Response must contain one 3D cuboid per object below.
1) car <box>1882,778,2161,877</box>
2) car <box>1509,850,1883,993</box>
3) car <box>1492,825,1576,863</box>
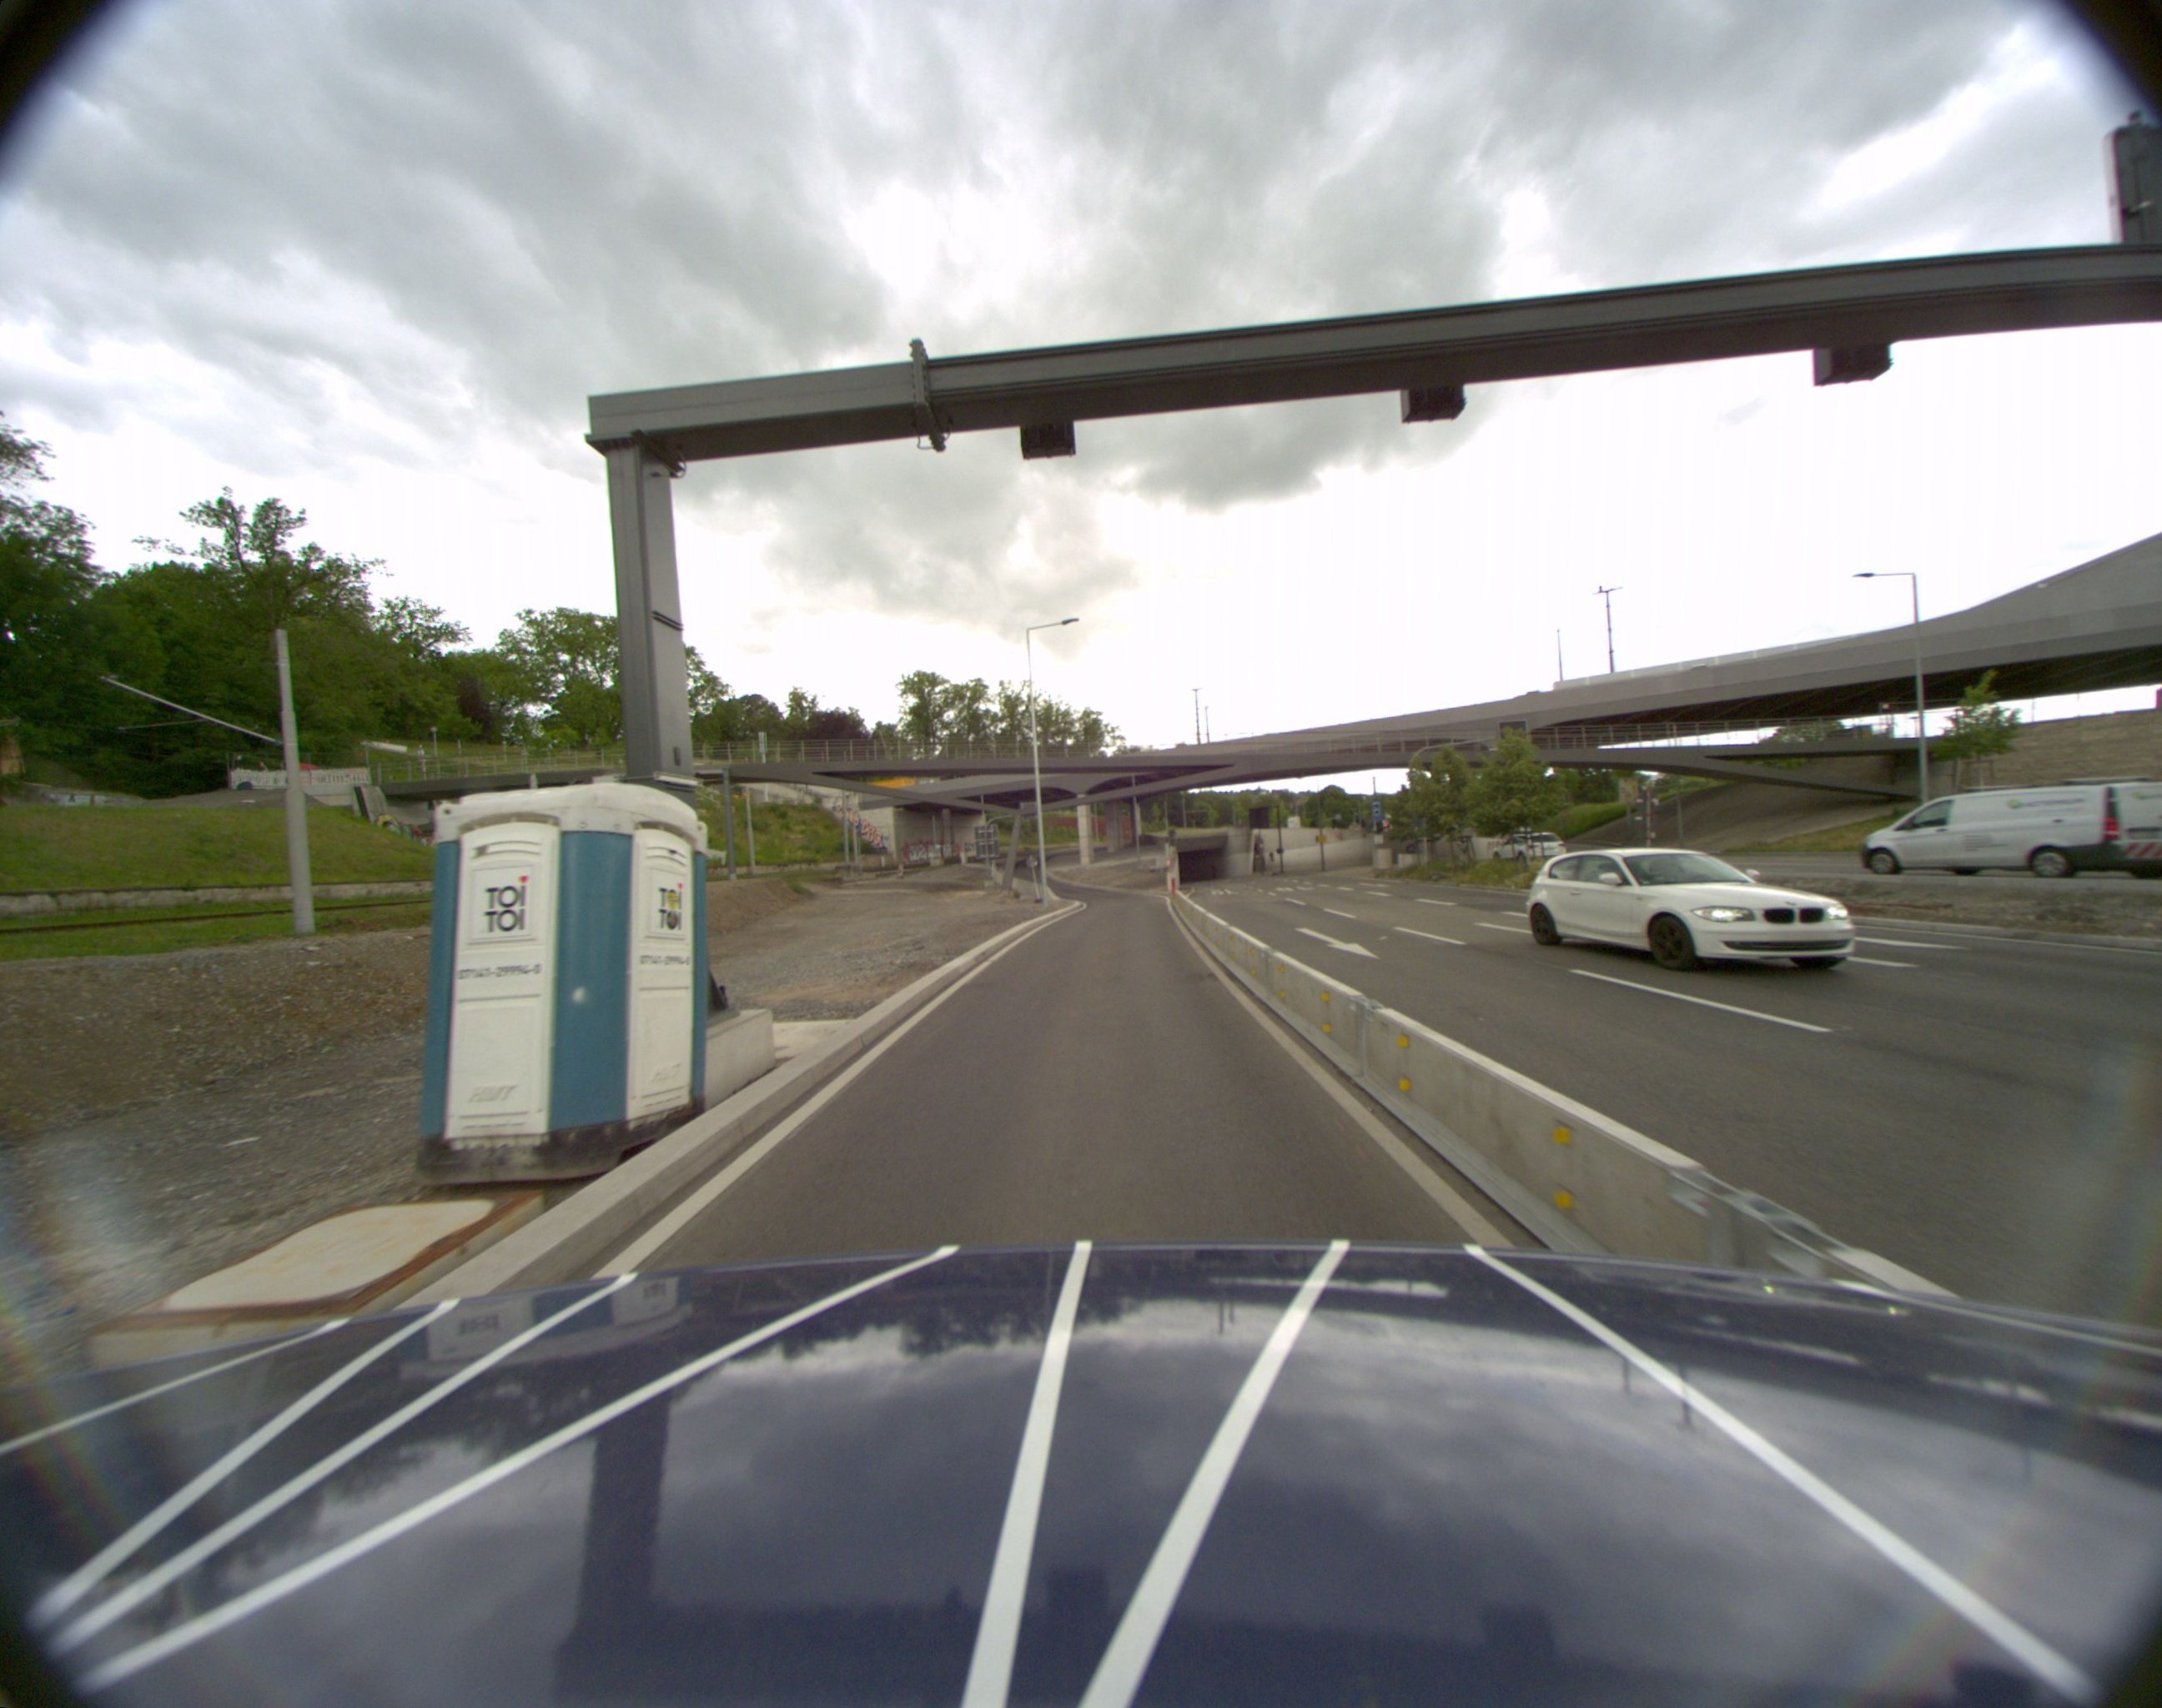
[{"bbox_3d":[19.521,-0.479,15.802,1.830,1.796,3.802,-1,0,3],"label":"car"},{"bbox_3d":[7.502,0.691,9.870,1.642,1.425,3.982,-2,1,1],"label":"car"},{"bbox_3d":[21.974,-0.455,37.047,1.804,1.652,4.290,-4,0,6],"label":"car"}]
